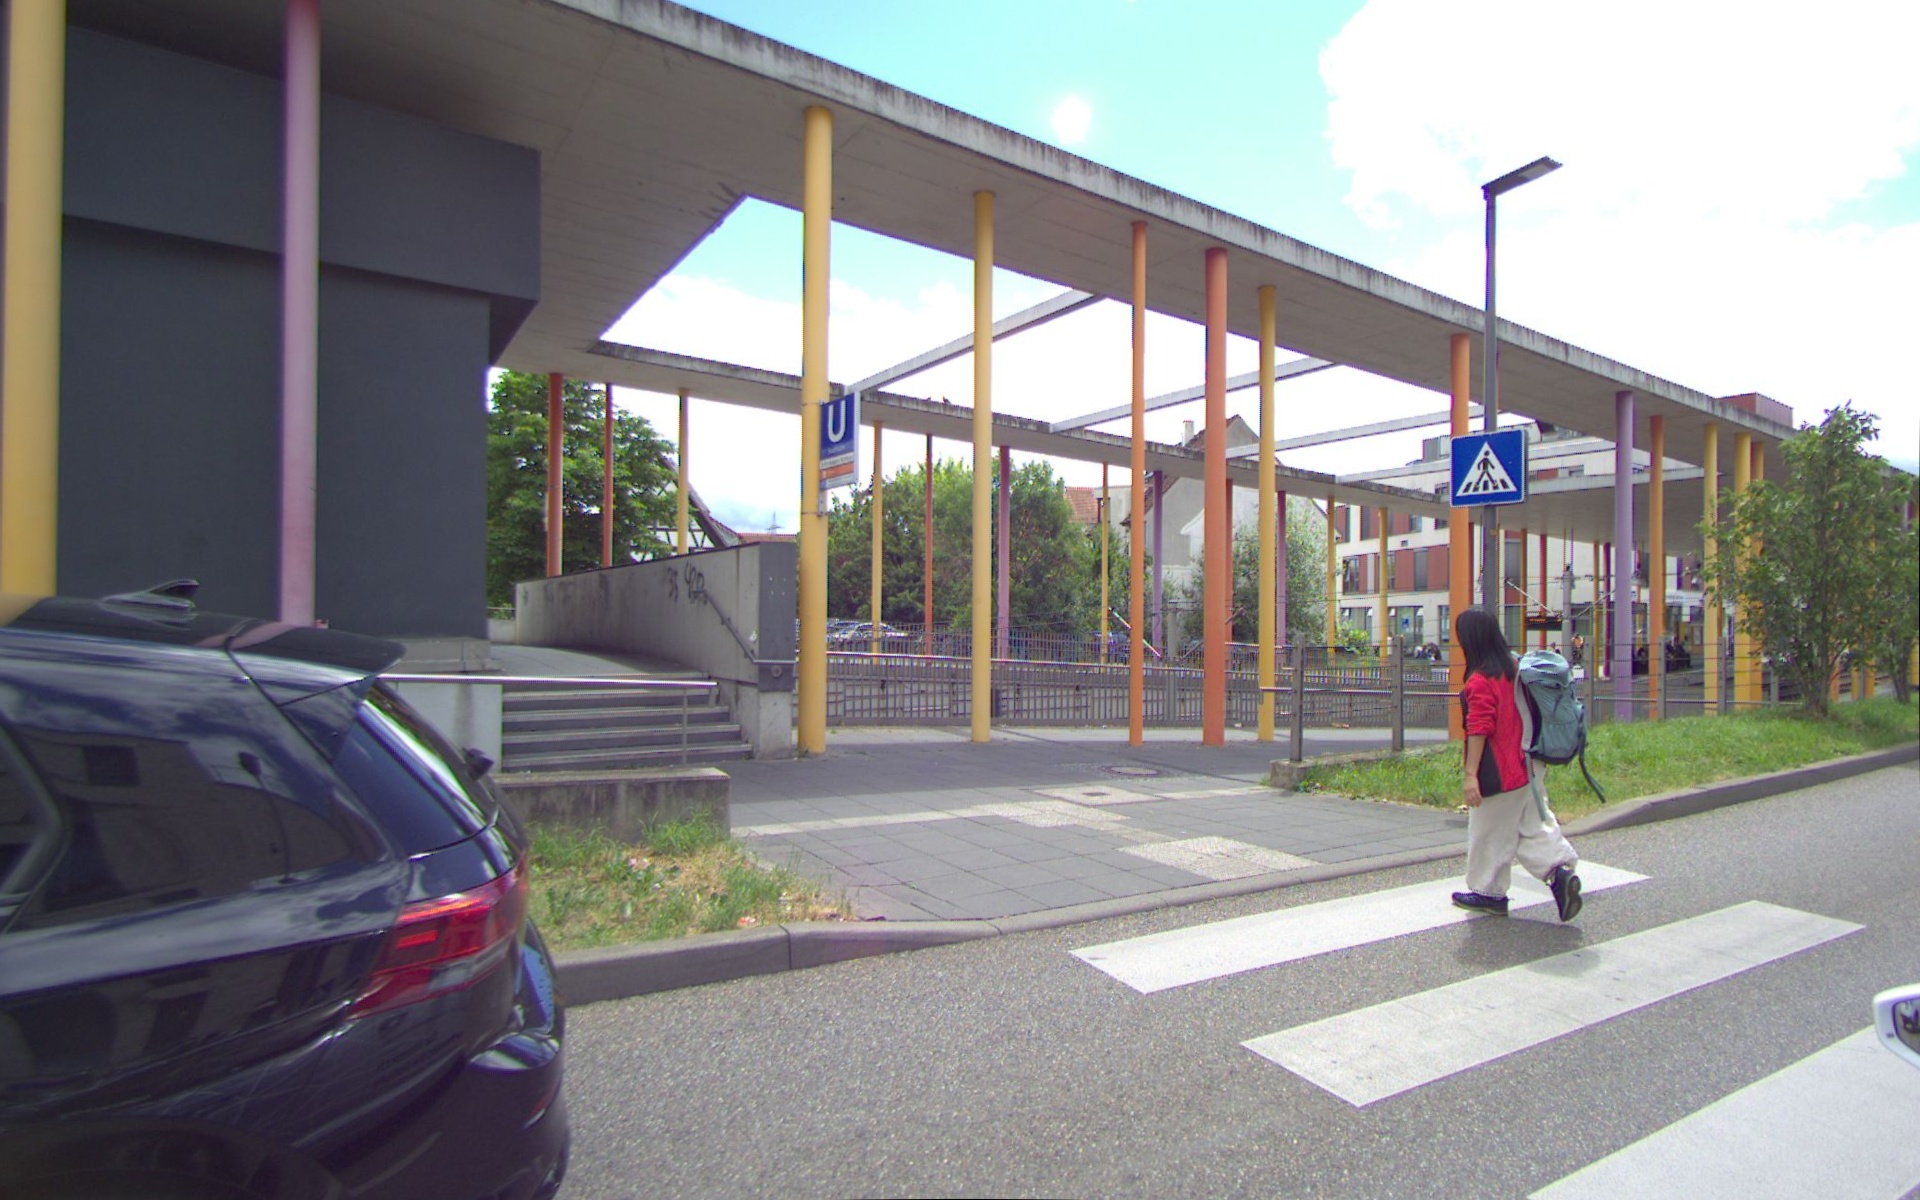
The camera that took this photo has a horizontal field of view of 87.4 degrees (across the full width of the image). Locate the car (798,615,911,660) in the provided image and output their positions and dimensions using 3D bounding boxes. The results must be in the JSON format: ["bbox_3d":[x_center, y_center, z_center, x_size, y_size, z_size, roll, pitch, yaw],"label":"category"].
[{"bbox_3d":[-4.325,1.544,41.249,4.206,1.595,1.905,3,-1,-22],"label":"car"}]

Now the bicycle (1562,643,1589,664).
[{"bbox_3d":[31.070,2.708,50.719,1.595,0.975,0.481,3,-1,-33],"label":"bicycle"}]

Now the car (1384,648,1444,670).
[{"bbox_3d":[28.967,3.799,64.177,1.618,1.342,3.712,3,-4,-11],"label":"car"}]

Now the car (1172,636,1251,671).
[{"bbox_3d":[11.498,2.421,46.128,1.546,1.355,3.983,3,-1,-19],"label":"car"}]

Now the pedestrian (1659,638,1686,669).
[{"bbox_3d":[33.687,2.531,47.496,0.694,1.397,0.817,0,1,-34],"label":"pedestrian"}]

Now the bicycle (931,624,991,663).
[{"bbox_3d":[0.044,1.536,35.165,2.030,1.286,0.530,3,-1,-22],"label":"bicycle"}]

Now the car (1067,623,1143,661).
[{"bbox_3d":[6.177,1.786,43.252,1.546,1.419,3.983,3,-1,-19],"label":"car"}]

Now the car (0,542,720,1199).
[{"bbox_3d":[-2.662,0.631,1.422,4.185,1.483,1.764,2,0,-30],"label":"car"}]

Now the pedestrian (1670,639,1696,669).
[{"bbox_3d":[34.556,2.575,48.010,0.694,1.397,0.817,0,1,-34],"label":"pedestrian"}]

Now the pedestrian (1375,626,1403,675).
[{"bbox_3d":[17.114,2.029,40.067,0.792,1.908,0.637,3,-1,-35],"label":"pedestrian"}]

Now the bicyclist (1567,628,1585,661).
[{"bbox_3d":[31.106,2.251,50.739,0.674,1.614,0.481,3,-1,-32],"label":"bicyclist"}]

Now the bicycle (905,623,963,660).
[{"bbox_3d":[-0.968,1.547,37.327,2.030,1.286,0.530,3,-1,-22],"label":"bicycle"}]

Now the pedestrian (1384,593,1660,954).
[{"bbox_3d":[2.810,0.783,5.051,0.807,1.586,0.920,3,-1,-36],"label":"pedestrian"}]

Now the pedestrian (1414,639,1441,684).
[{"bbox_3d":[18.238,2.400,39.193,0.723,1.683,0.637,3,-1,-35],"label":"pedestrian"}]

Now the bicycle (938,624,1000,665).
[{"bbox_3d":[0.313,1.531,34.523,2.030,1.286,0.530,3,-1,-22],"label":"bicycle"}]

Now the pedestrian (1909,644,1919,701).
[{"bbox_3d":[31.797,2.409,33.084,0.702,1.854,0.583,3,-1,-33],"label":"pedestrian"}]

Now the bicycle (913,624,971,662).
[{"bbox_3d":[-0.644,1.569,36.752,2.030,1.286,0.530,3,-1,-22],"label":"bicycle"}]

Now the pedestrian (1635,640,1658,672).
[{"bbox_3d":[31.424,2.553,45.995,0.695,1.397,0.647,0,1,-34],"label":"pedestrian"}]
